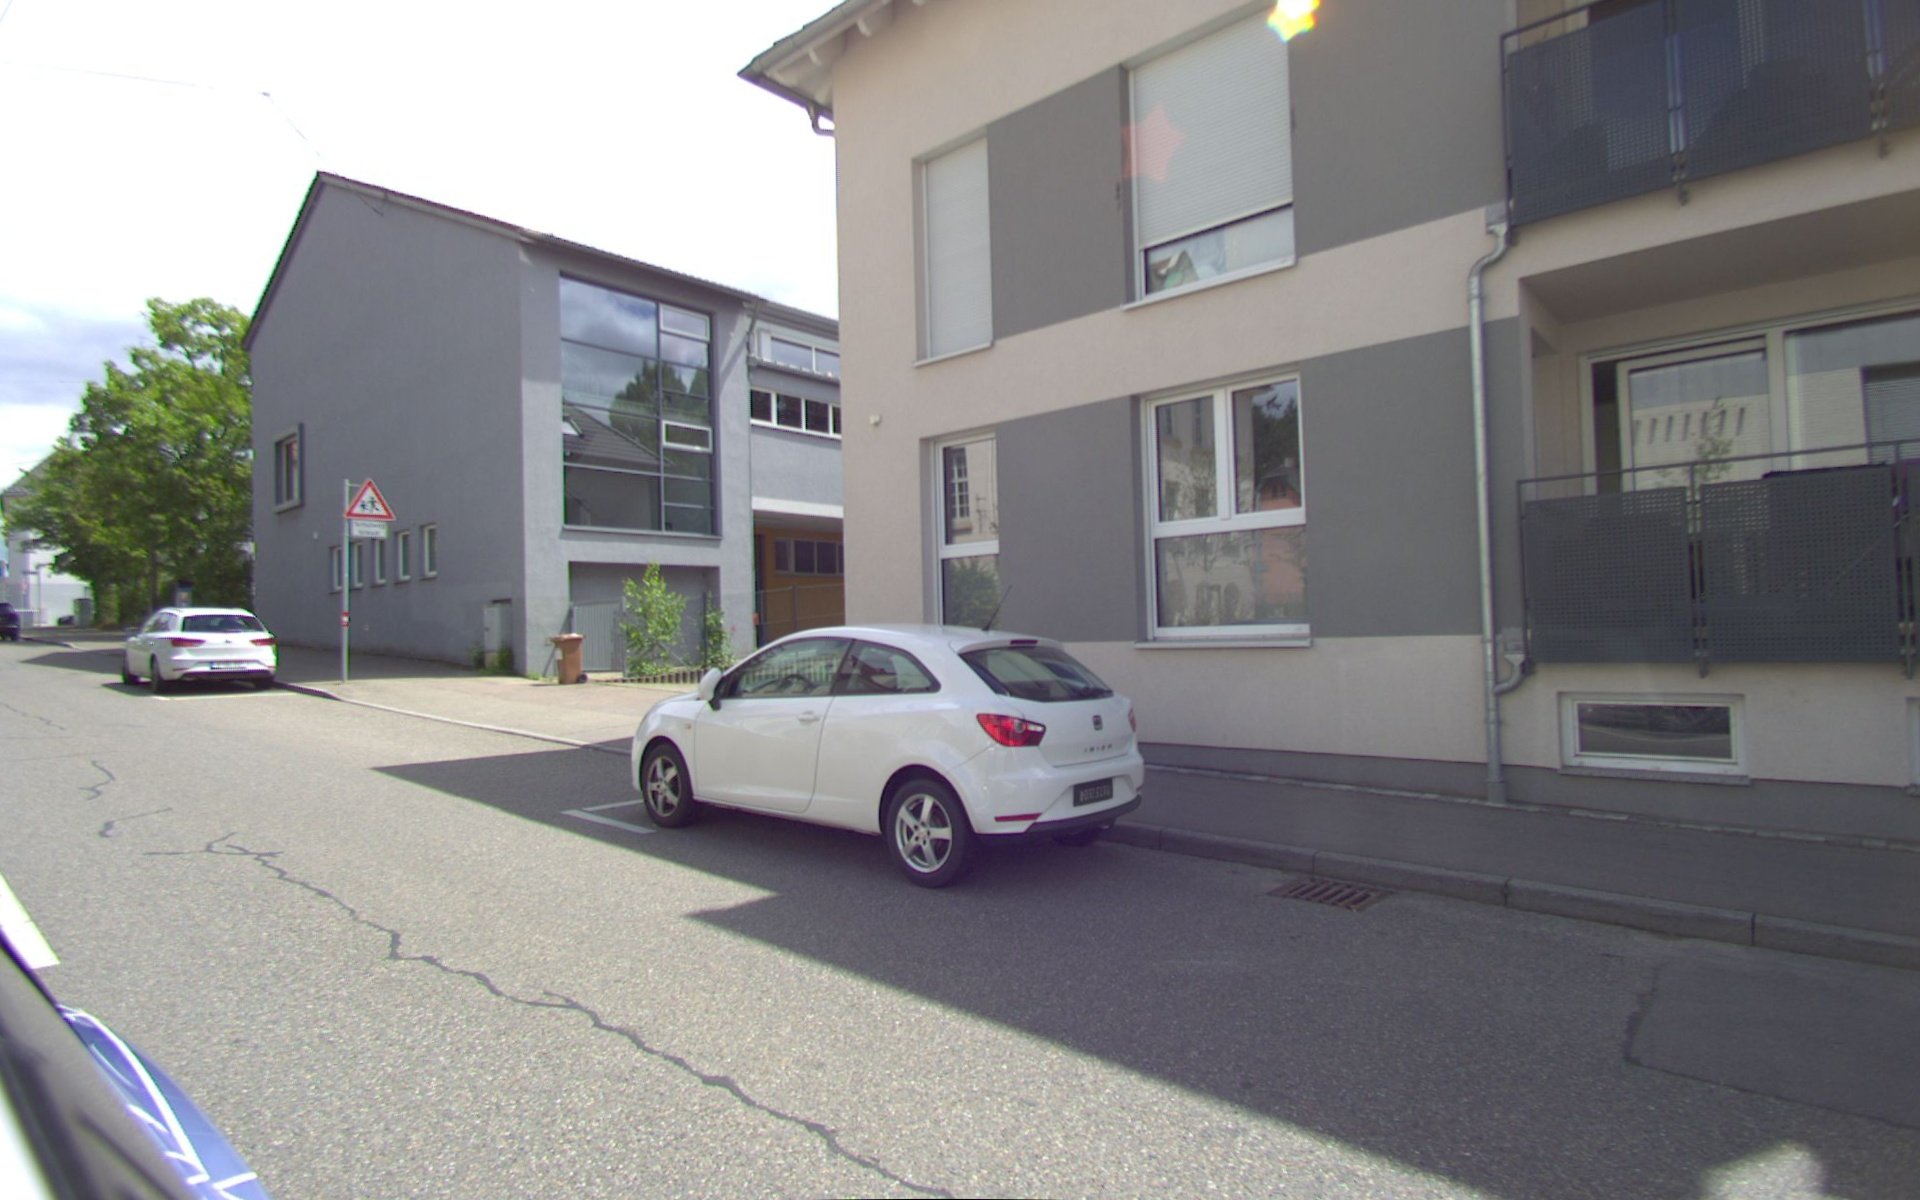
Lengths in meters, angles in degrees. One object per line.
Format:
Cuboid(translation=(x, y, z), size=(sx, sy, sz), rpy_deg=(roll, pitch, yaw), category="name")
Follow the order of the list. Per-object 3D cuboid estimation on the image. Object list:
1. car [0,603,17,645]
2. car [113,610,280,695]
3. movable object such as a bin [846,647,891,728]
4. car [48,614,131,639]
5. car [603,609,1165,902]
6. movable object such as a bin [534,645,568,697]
Cuboid(translation=(-39.179, 0.984, 40.278), size=(4.641, 1.622, 1.777), rpy_deg=(-2, -2, 39), category="car")
Cuboid(translation=(-13.997, 0.932, 18.485), size=(3.864, 1.401, 1.679), rpy_deg=(-3, -2, 41), category="car")
Cuboid(translation=(-1.116, 1.055, 12.354), size=(0.389, 0.961, 0.411), rpy_deg=(-1, -2, 27), category="movable object such as a bin")
Cuboid(translation=(-57.429, 1.728, 66.827), size=(1.857, 1.488, 3.945), rpy_deg=(-4, -3, 41), category="car")
Cuboid(translation=(-0.668, 0.802, 6.830), size=(3.695, 1.429, 1.630), rpy_deg=(-1, 0, 40), category="car")
Cuboid(translation=(-7.562, 1.299, 18.717), size=(0.399, 0.936, 0.449), rpy_deg=(-1, -2, 40), category="movable object such as a bin")
